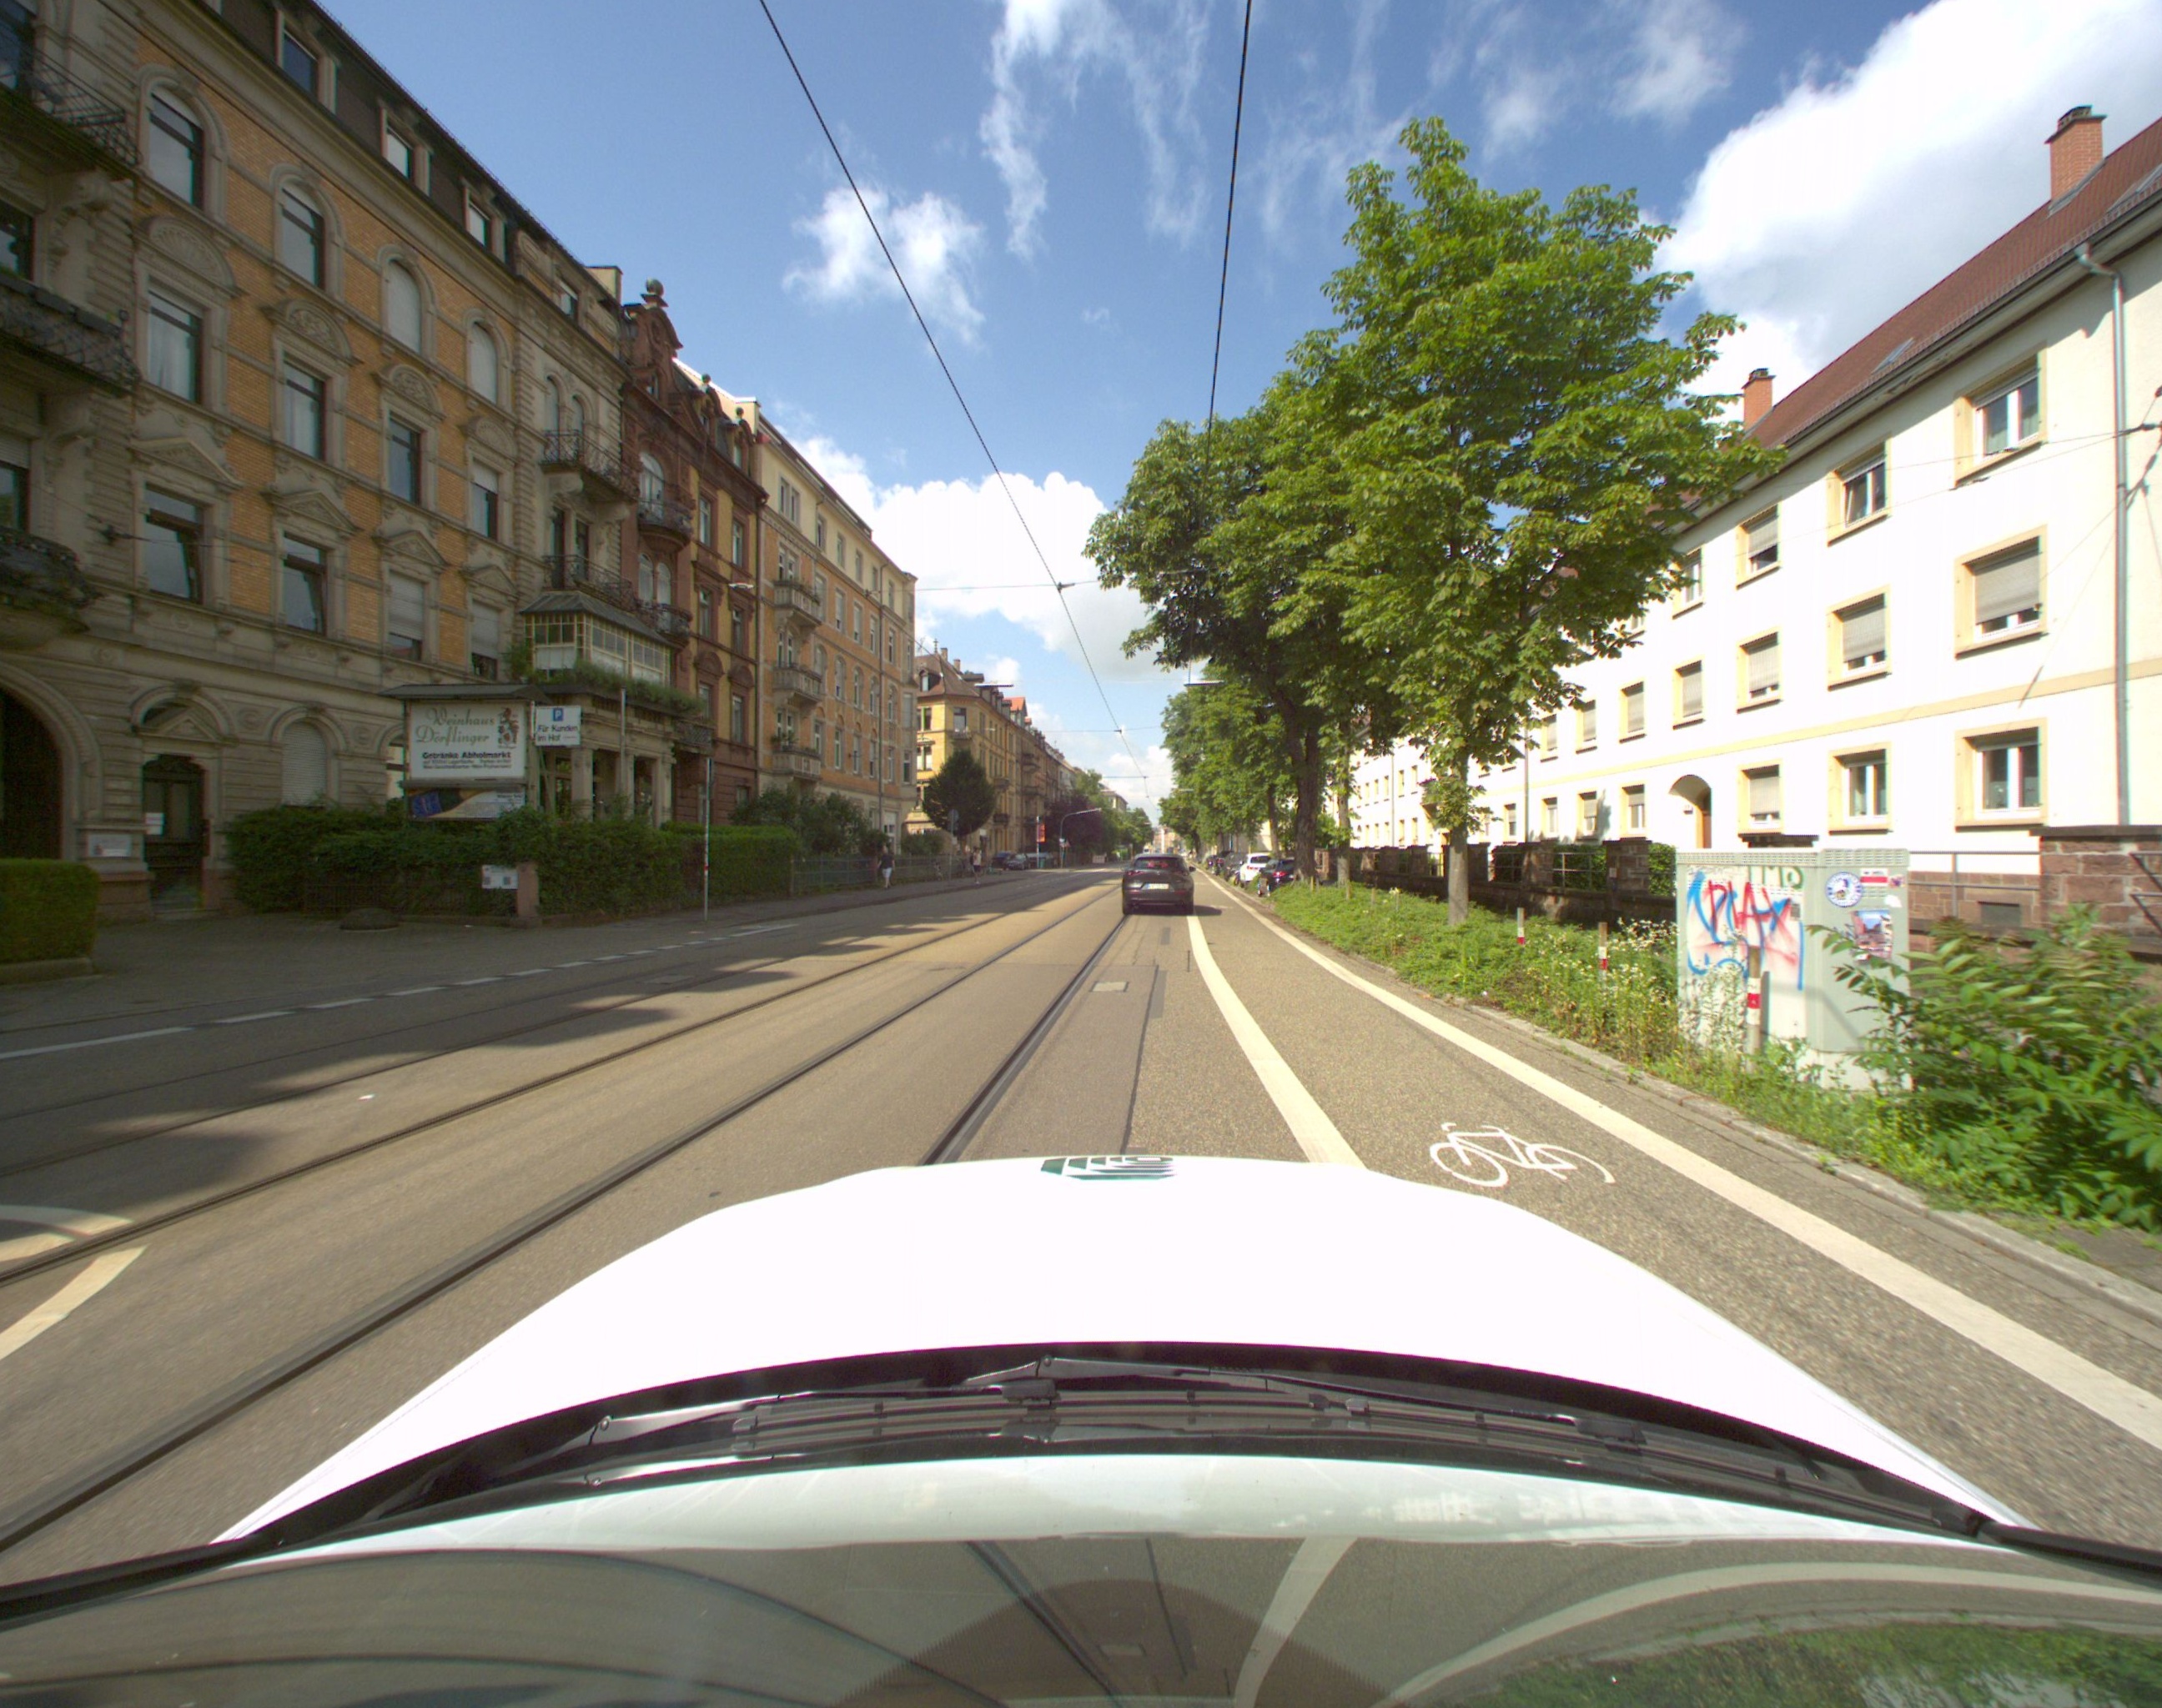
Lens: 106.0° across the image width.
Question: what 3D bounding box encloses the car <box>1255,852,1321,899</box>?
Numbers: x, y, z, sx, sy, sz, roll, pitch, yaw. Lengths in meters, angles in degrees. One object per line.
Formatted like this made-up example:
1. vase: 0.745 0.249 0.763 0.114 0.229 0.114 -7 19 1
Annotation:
1. car: 7.139 0.688 28.426 1.652 1.521 4.295 0 0 6

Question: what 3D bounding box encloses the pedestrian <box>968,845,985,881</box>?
1. pedestrian: -5.136 0.433 40.046 0.530 1.760 1.108 2 0 6

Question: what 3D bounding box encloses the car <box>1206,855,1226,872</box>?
1. car: 12.755 0.887 77.104 1.697 1.479 4.204 2 0 7

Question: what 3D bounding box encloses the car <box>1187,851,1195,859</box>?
1. car: 25.685 0.198 190.515 1.711 1.968 4.216 0 0 7

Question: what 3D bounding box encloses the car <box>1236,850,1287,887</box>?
1. car: 8.065 0.613 36.703 1.733 1.581 4.256 0 0 6

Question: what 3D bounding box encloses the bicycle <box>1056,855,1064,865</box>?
1. bicycle: -2.178 0.616 83.952 0.527 0.946 1.971 0 0 7

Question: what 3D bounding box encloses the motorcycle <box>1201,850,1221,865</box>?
1. motorcycle: 14.771 0.424 92.588 0.683 1.597 2.358 0 1 -45

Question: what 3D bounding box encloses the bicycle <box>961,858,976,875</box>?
1. bicycle: -6.591 0.714 47.927 0.419 0.976 1.953 0 0 6

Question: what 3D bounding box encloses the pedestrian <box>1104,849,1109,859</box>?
1. pedestrian: 4.244 0.032 133.506 0.819 1.706 0.892 0 0 3

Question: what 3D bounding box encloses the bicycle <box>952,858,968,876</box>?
1. bicycle: -6.818 0.719 45.871 0.419 0.976 1.953 0 0 6

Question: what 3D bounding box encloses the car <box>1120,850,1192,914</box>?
1. car: 1.995 0.660 21.335 1.712 1.526 3.596 0 0 6

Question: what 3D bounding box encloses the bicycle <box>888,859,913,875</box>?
1. bicycle: -11.165 0.792 50.419 1.445 0.976 0.405 0 0 6

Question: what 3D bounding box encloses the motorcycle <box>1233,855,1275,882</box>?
1. motorcycle: 8.754 0.743 41.254 1.998 1.337 0.748 0 0 2

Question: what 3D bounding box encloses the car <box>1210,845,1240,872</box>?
1. car: 10.131 0.273 57.578 1.817 1.782 4.742 0 0 6

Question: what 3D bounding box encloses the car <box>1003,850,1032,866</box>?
1. car: -5.734 0.351 74.038 1.676 1.459 4.773 0 0 7

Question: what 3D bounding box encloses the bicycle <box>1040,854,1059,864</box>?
1. bicycle: -3.203 0.521 82.567 1.954 0.946 0.532 0 0 2

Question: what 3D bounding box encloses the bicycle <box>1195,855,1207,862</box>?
1. bicycle: 18.862 0.701 128.038 1.921 1.176 0.515 -1 -1 18

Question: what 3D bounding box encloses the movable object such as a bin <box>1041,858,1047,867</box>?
1. movable object such as a bin: -3.435 0.788 76.000 0.522 0.906 0.637 0 0 5

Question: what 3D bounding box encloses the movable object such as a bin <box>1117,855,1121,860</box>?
1. movable object such as a bin: 7.636 0.779 164.430 0.741 0.988 1.116 2 0 6

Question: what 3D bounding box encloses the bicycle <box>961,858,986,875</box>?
1. bicycle: -6.628 0.769 50.207 1.445 0.976 0.405 0 0 6

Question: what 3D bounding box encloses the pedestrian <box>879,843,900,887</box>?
1. pedestrian: -7.654 0.432 32.583 0.485 1.703 1.153 0 0 5

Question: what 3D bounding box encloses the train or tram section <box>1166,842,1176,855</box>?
1. train or tram section: 27.275 -1.761 247.642 2.560 3.772 13.042 0 0 5

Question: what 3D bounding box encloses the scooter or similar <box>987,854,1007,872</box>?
1. scooter or similar: -6.068 0.642 58.945 1.367 1.235 0.401 1 0 -22

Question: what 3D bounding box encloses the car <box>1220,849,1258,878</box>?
1. car: 9.242 0.526 48.021 1.853 1.653 4.646 0 0 6

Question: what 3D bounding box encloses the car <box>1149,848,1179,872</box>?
1. car: 5.801 0.396 56.575 1.983 1.529 4.007 2 0 6

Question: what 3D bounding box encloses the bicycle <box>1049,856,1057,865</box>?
1. bicycle: -2.769 0.633 79.832 0.527 0.946 1.971 0 0 7

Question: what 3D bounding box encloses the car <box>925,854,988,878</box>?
1. car: -7.911 0.747 51.970 3.581 1.403 1.792 1 0 10

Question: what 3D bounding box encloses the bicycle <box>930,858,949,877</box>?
1. bicycle: -7.227 0.700 41.752 0.419 0.932 1.953 0 0 6
